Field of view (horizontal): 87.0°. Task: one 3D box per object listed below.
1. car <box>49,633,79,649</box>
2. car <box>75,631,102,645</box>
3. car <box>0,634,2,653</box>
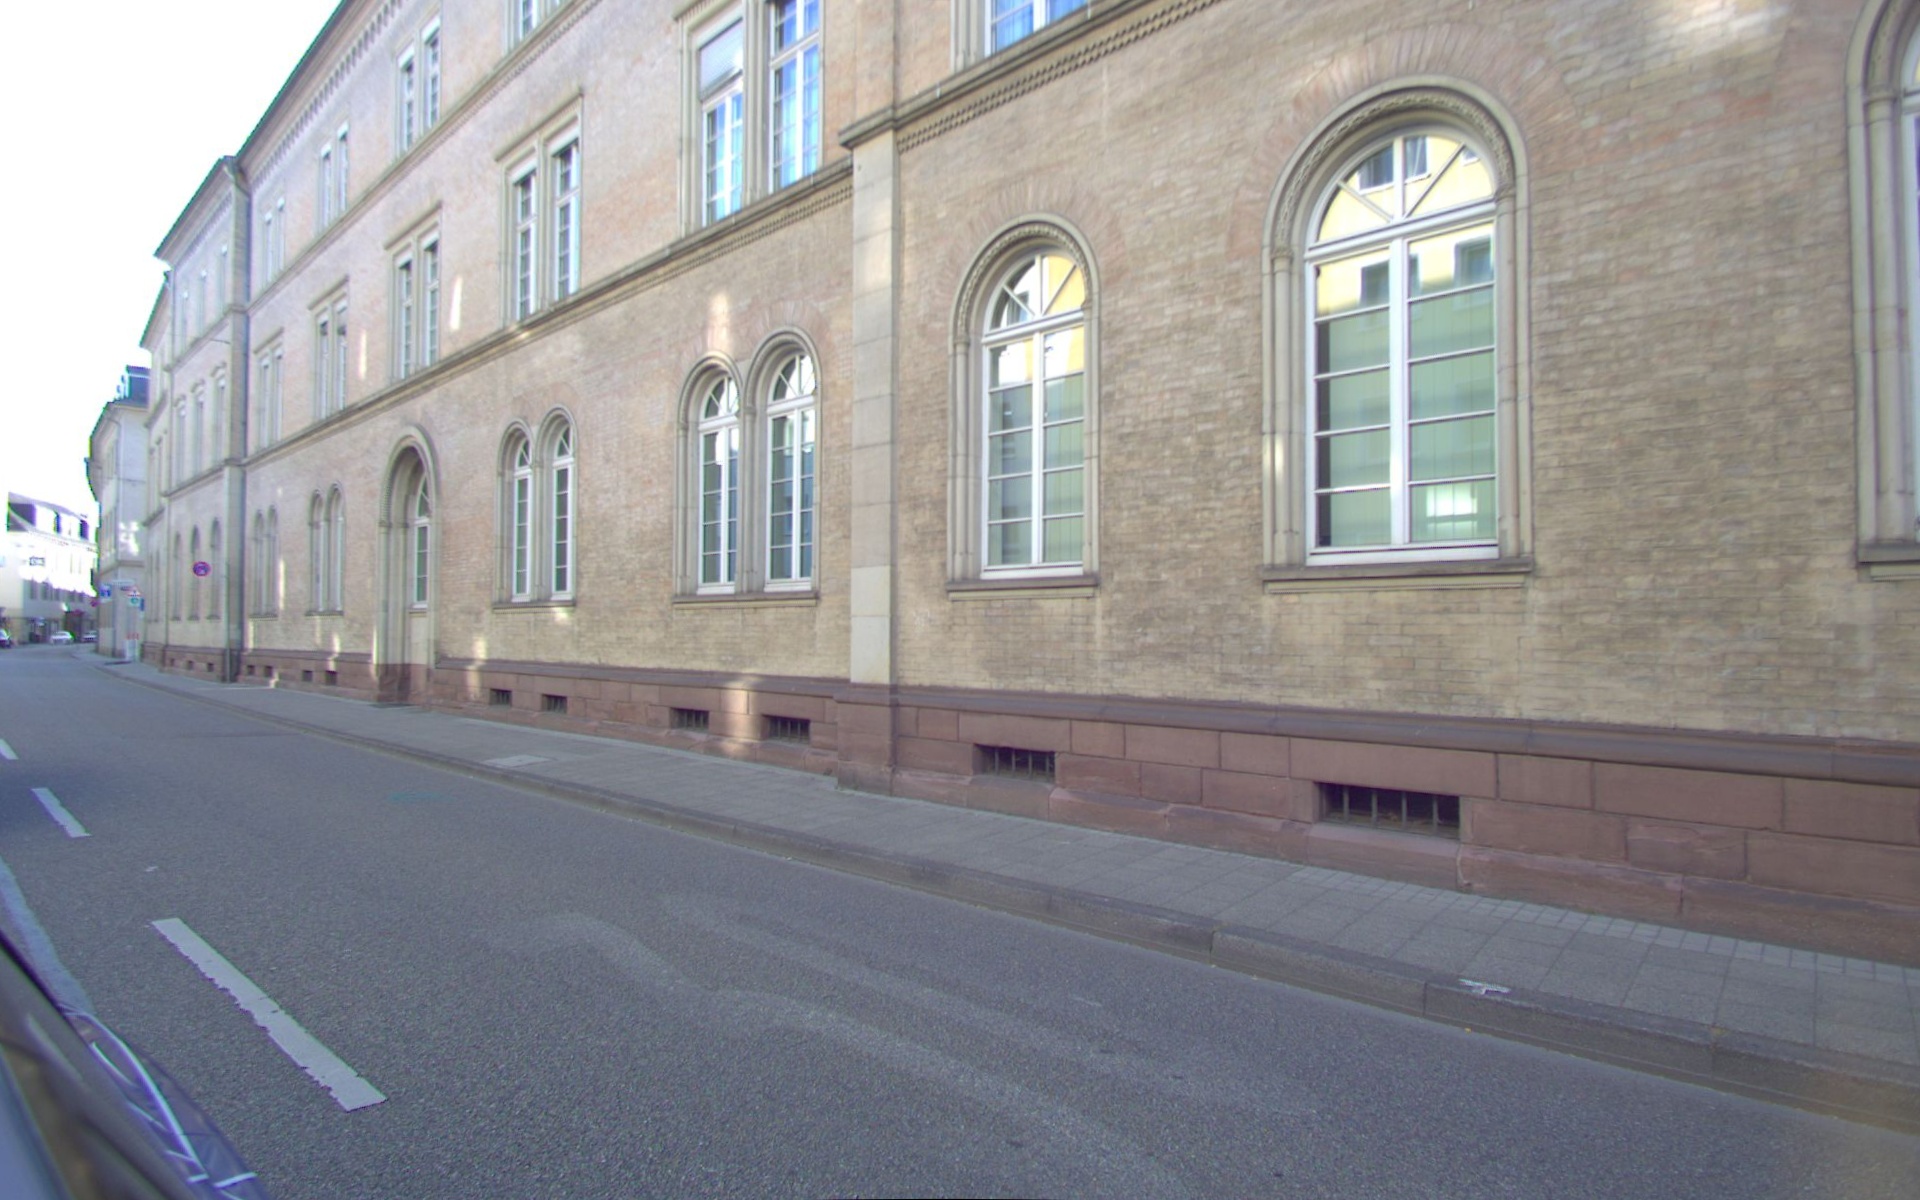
[{"bbox_3d":[-102.870,4.682,116.198,1.966,1.665,4.240,-1,0,-33],"label":"car"},{"bbox_3d":[-109.243,4.759,126.851,1.966,1.665,4.240,-1,0,-33],"label":"car"},{"bbox_3d":[-86.629,3.892,89.972,1.969,1.665,4.235,-1,0,-41],"label":"car"}]
